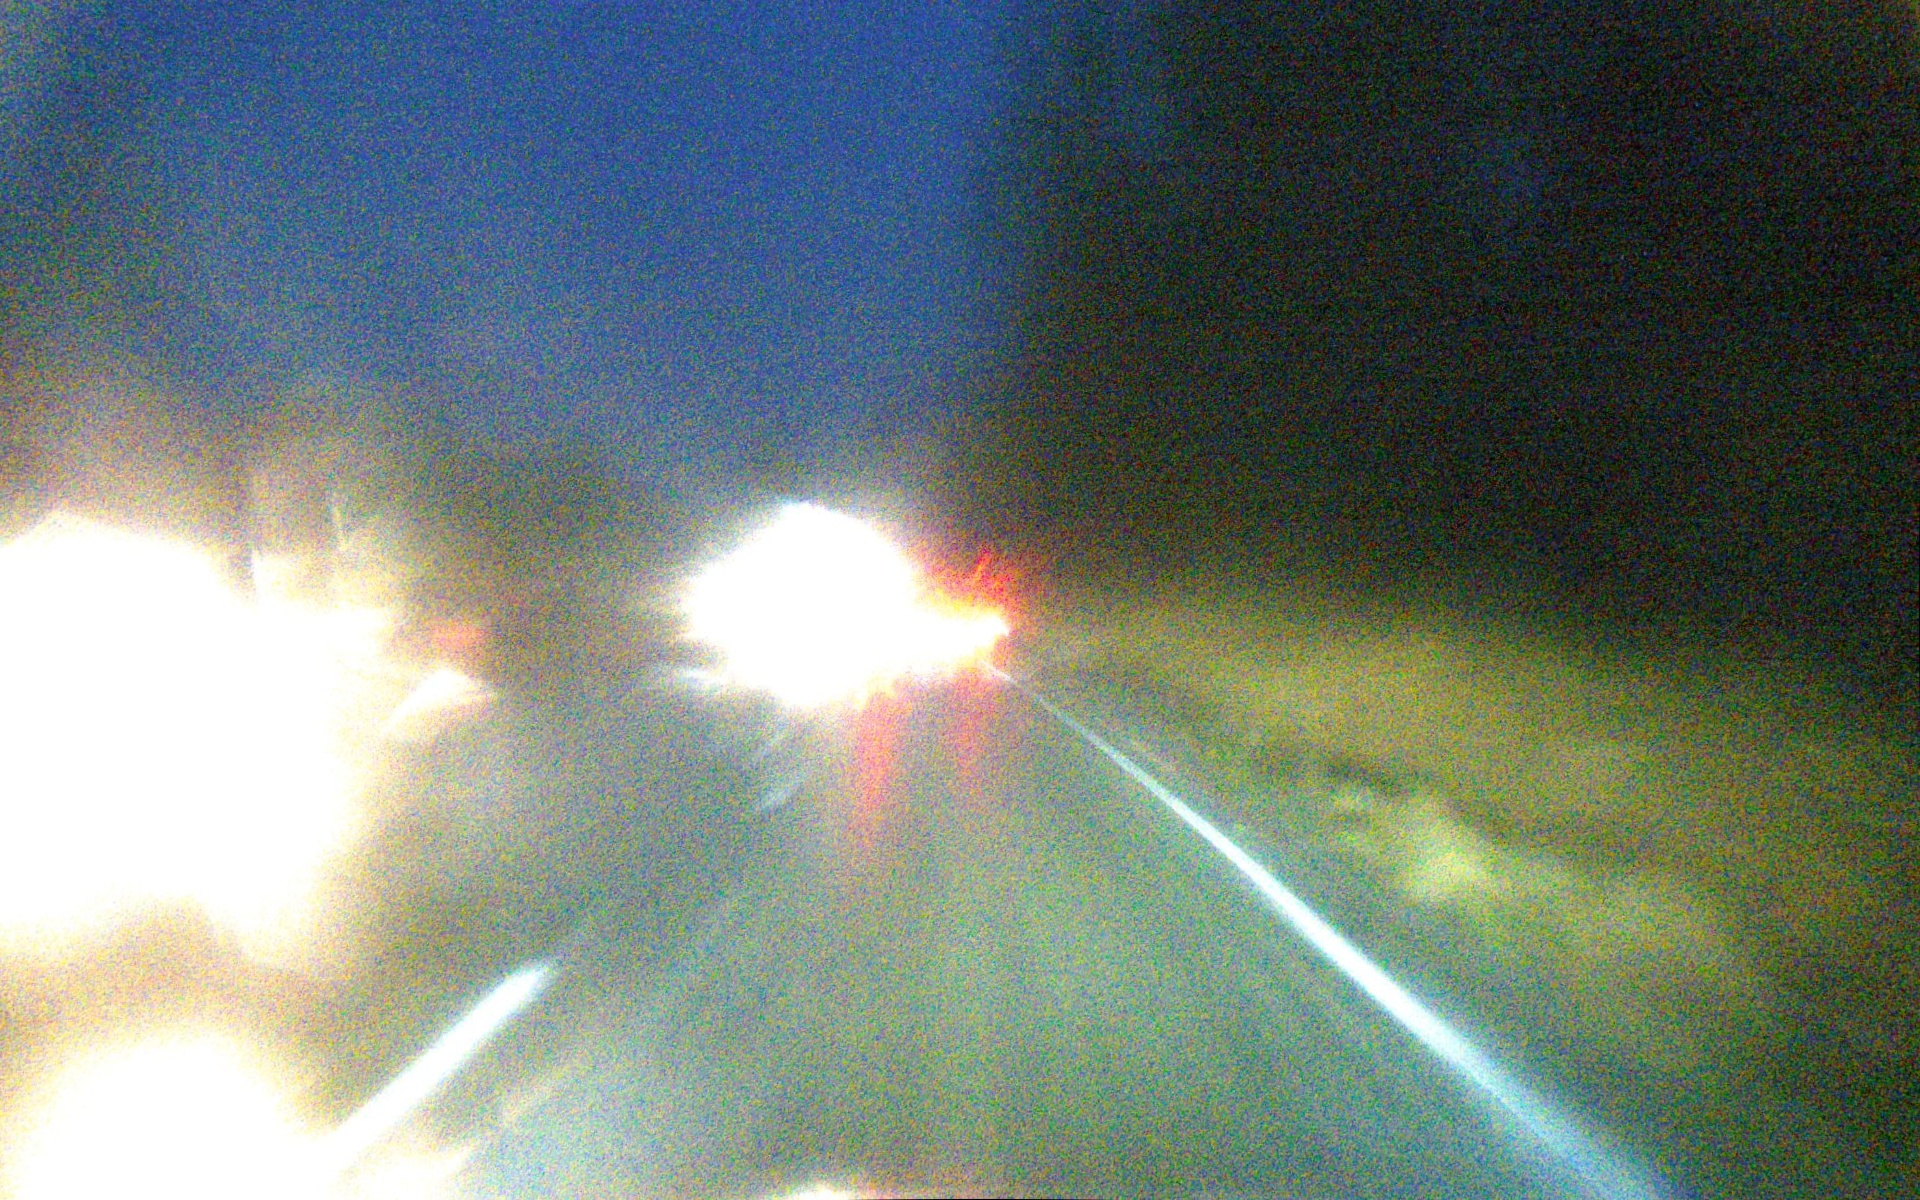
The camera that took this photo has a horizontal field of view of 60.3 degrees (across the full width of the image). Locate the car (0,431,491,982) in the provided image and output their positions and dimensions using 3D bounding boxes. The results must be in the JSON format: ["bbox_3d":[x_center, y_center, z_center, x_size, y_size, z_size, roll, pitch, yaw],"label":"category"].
[{"bbox_3d":[-3.906,0.388,8.386,1.954,2.049,4.454,-1,0,-3],"label":"car"}]

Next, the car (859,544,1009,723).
[{"bbox_3d":[-0.460,0.454,27.235,2.137,2.601,4.507,3,1,-2],"label":"car"}]
